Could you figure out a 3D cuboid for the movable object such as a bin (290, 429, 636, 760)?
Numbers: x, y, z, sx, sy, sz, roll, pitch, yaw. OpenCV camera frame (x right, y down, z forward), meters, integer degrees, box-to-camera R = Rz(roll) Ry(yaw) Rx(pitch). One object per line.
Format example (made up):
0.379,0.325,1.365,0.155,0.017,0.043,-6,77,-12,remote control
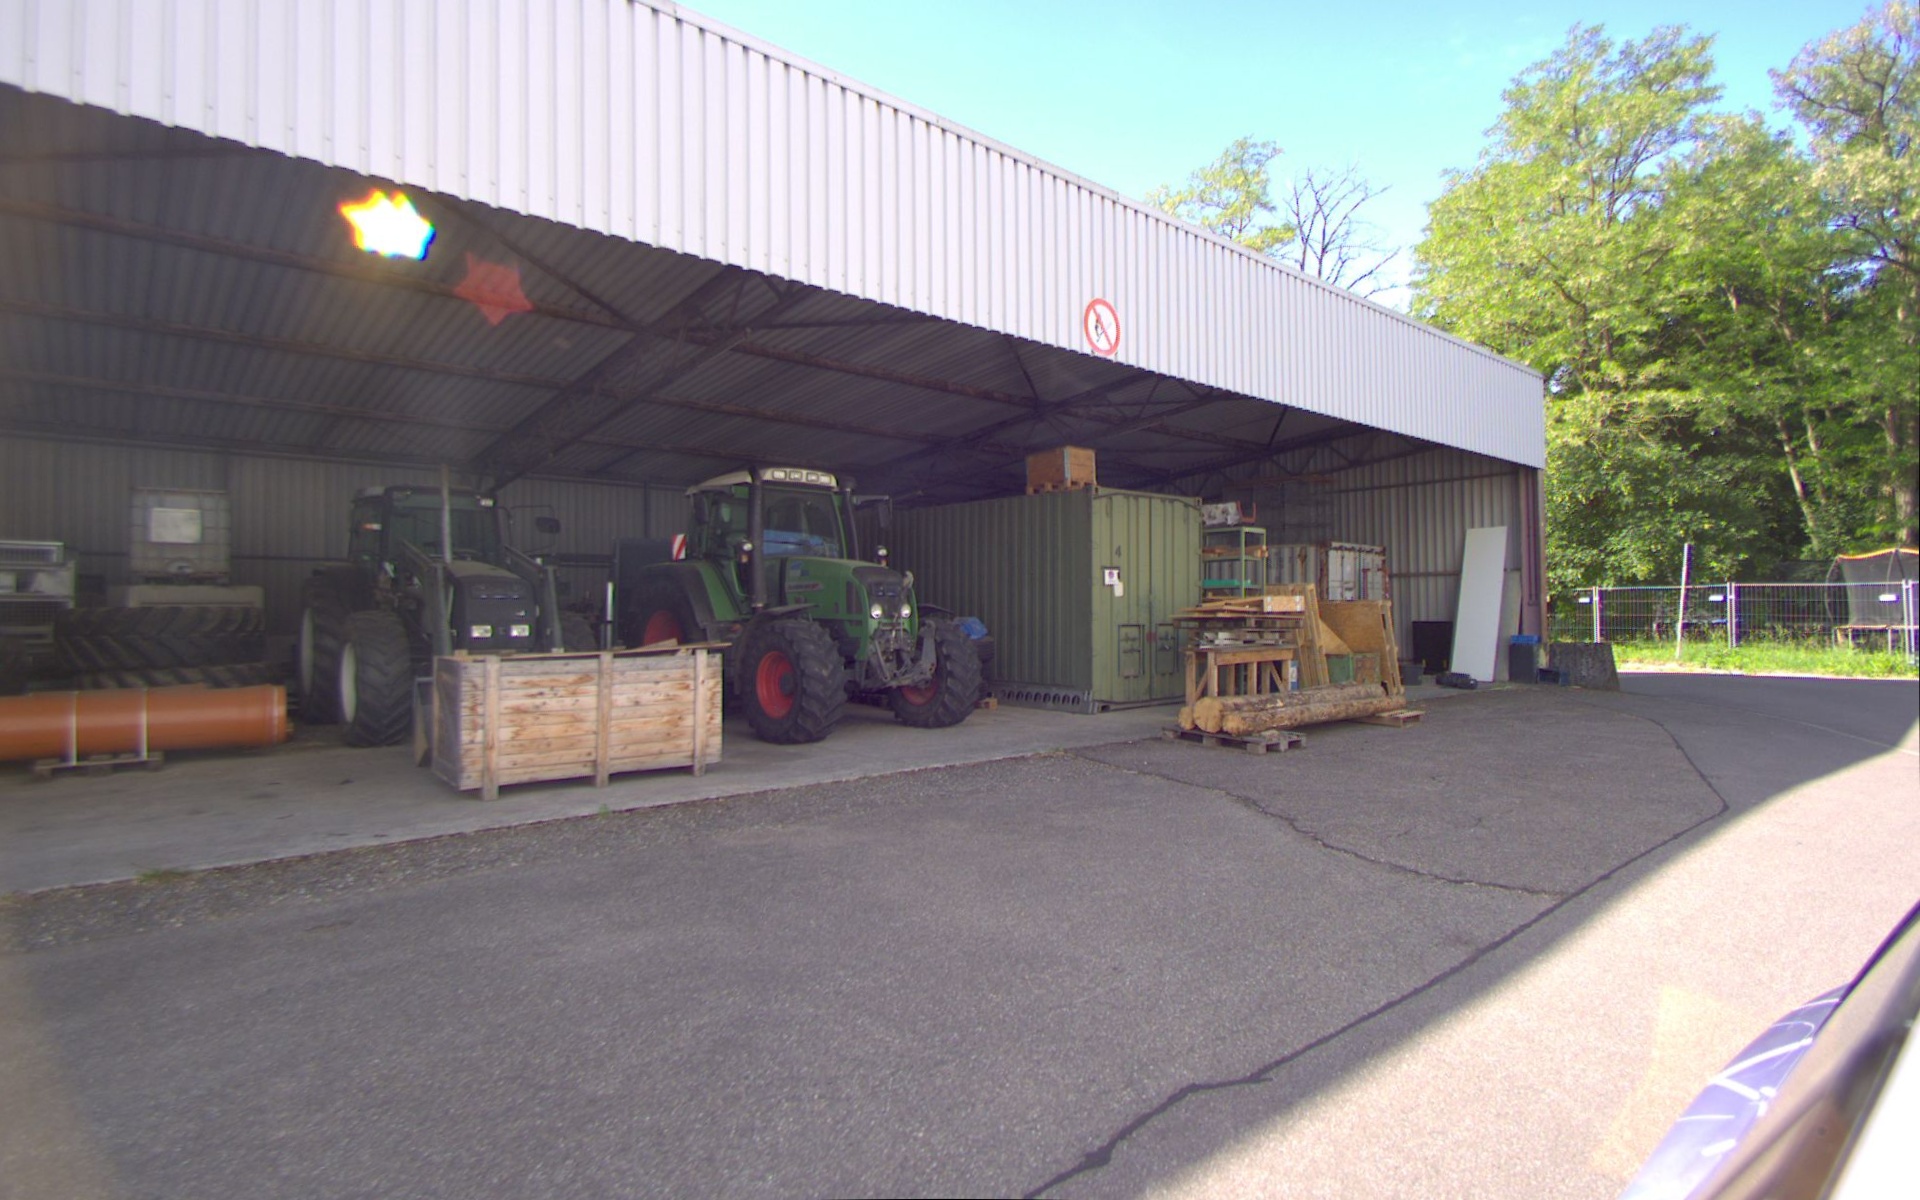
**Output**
-5.709,-0.031,11.306,2.453,2.867,4.534,1,-1,-40,movable object such as a bin

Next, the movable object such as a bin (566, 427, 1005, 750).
-2.428,-0.085,12.414,2.770,2.962,5.844,0,-1,-40,movable object such as a bin
